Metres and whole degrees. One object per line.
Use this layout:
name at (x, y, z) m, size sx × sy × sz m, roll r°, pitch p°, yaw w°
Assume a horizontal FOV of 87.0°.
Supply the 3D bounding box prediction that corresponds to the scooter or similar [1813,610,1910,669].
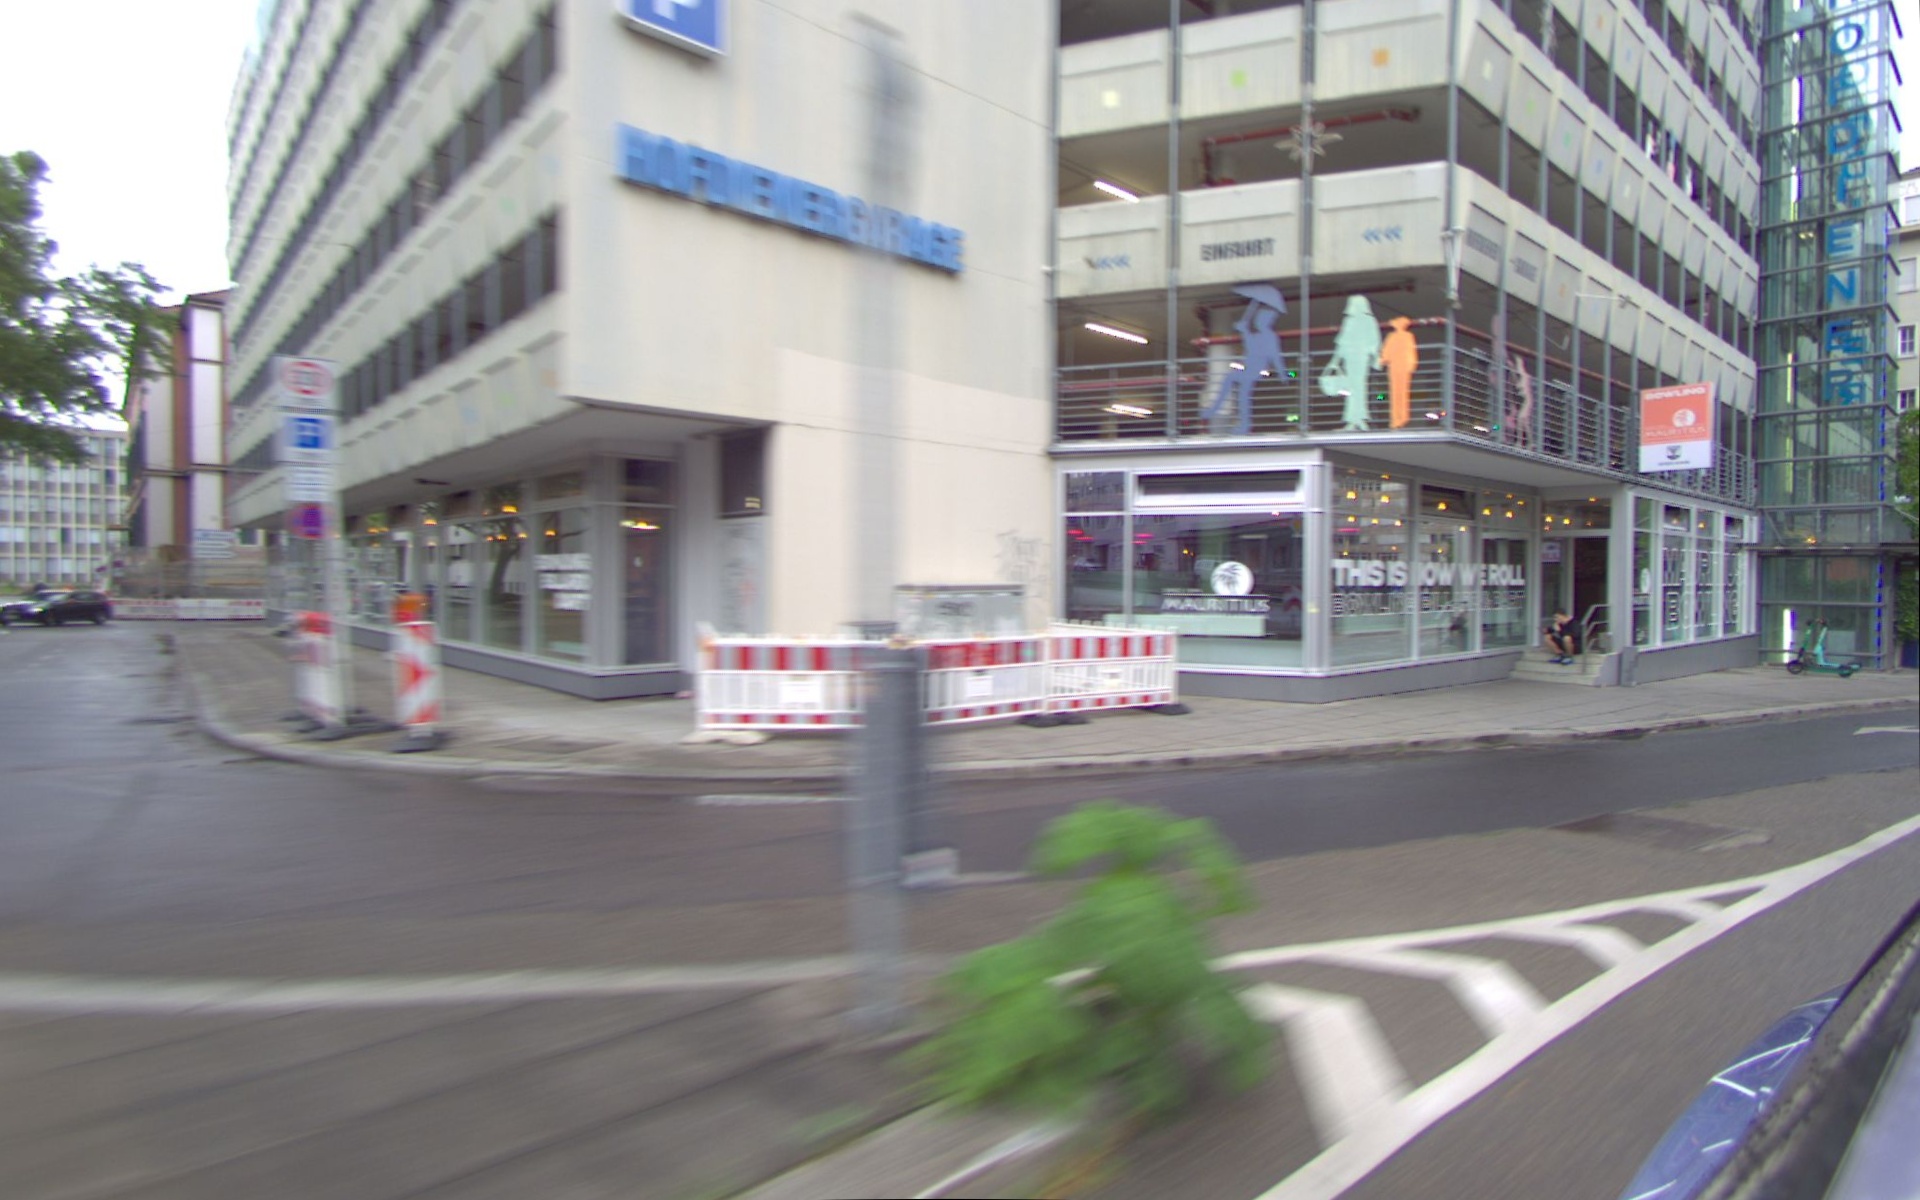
scooter or similar at (21.392, 0.918, 24.066) m, size 1.633 × 1.283 × 0.732 m, roll 3°, pitch 1°, yaw 39°

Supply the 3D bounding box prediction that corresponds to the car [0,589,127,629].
car at (-37.331, 0.349, 41.779) m, size 1.966 × 1.531 × 4.384 m, roll 1°, pitch 0°, yaw 7°

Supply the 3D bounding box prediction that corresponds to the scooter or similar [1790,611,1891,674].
scooter or similar at (19.704, 0.935, 22.702) m, size 1.633 × 1.283 × 0.732 m, roll 3°, pitch 1°, yaw 39°

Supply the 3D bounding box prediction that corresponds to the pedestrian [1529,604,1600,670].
pedestrian at (10.899, 0.645, 18.249) m, size 1.225 × 1.137 × 0.754 m, roll 1°, pitch -1°, yaw -41°
